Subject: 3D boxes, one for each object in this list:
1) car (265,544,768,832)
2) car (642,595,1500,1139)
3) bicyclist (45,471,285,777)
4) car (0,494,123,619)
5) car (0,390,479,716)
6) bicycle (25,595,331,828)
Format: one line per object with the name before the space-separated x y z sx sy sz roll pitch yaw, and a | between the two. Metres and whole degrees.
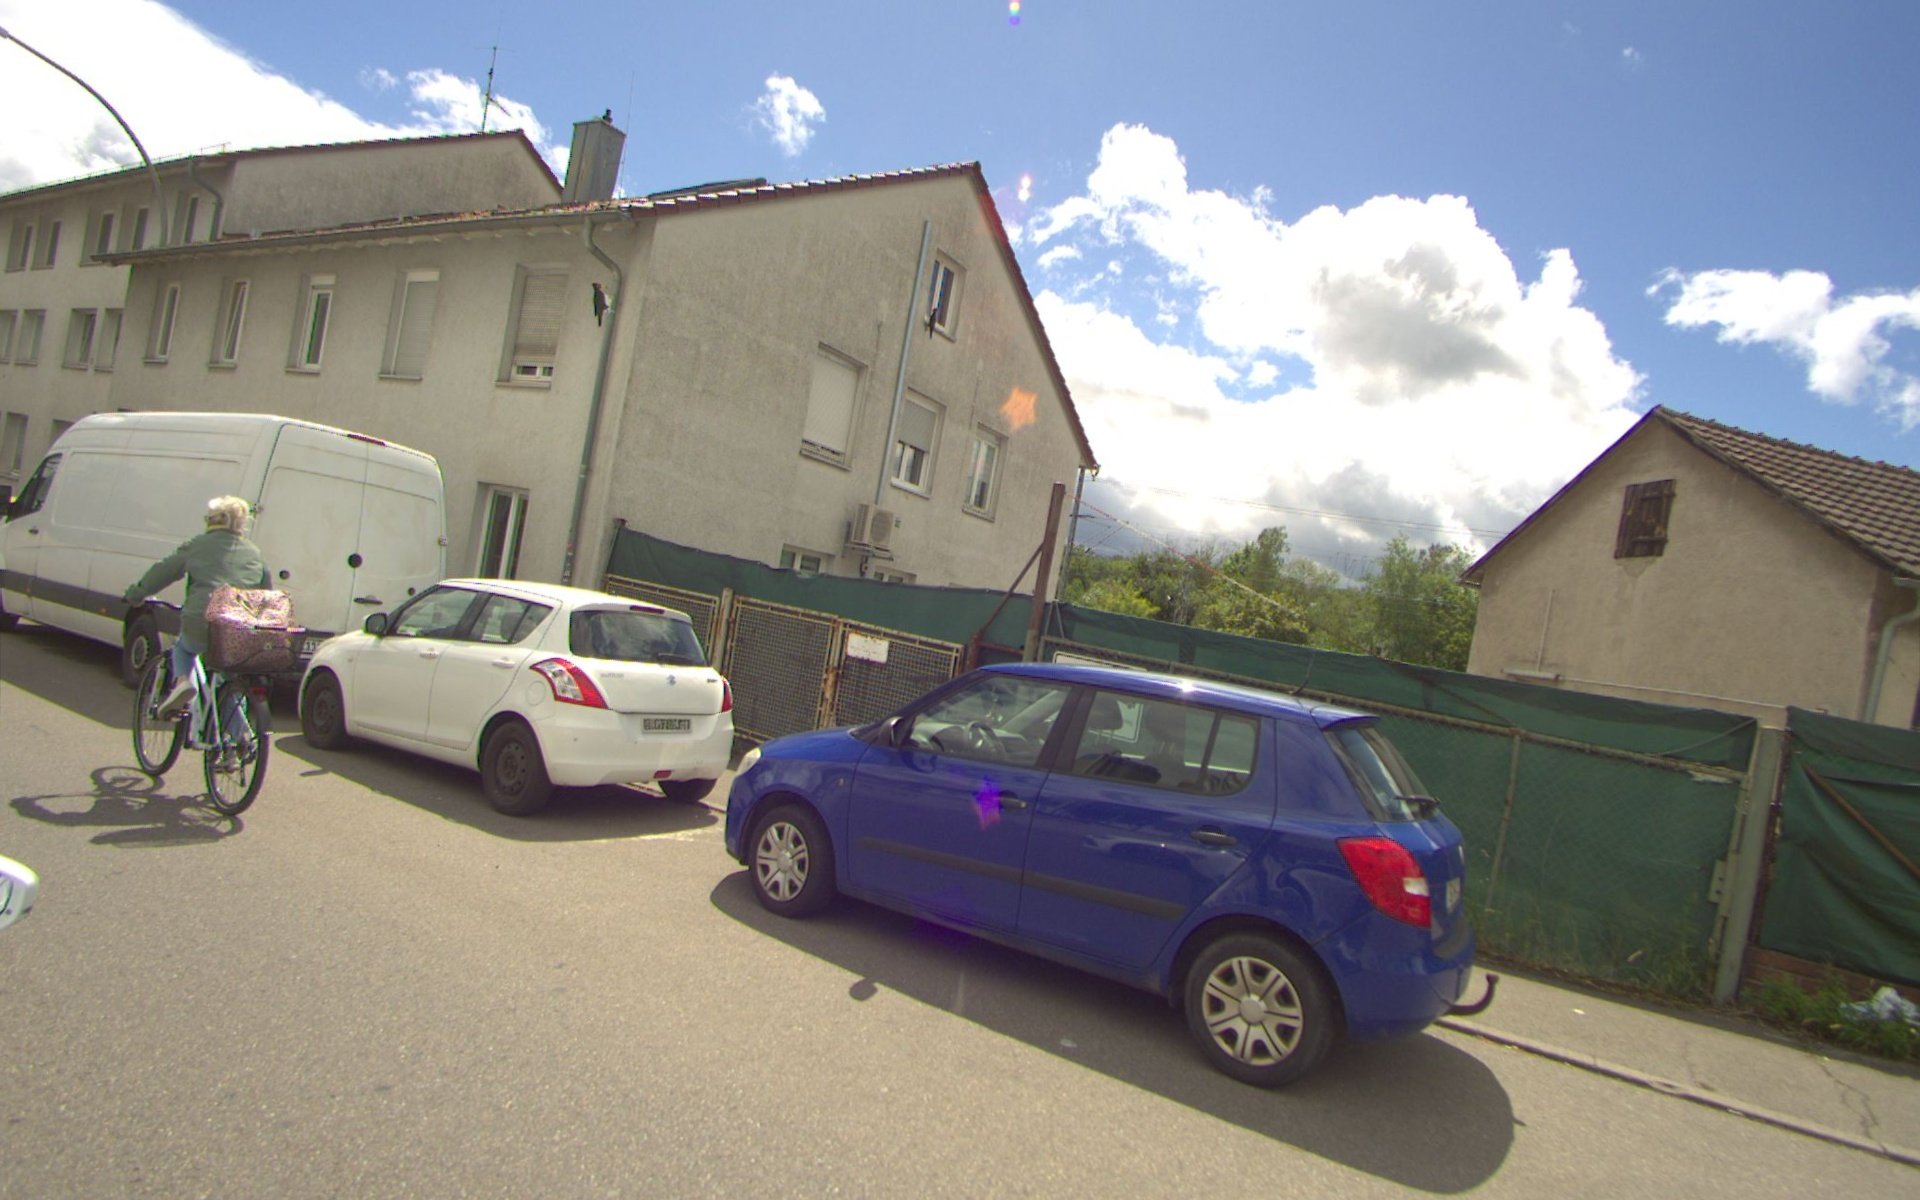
car | -3.507 0.563 7.786 3.727 1.527 1.596 6 -2 32
car | 0.401 0.999 5.236 4.027 1.527 1.570 6 -2 33
bicyclist | -4.685 0.142 5.951 0.719 1.645 0.741 7 -1 30
car | -13.735 -0.753 14.393 3.729 1.464 1.595 8 -1 34
car | -8.474 -0.626 10.973 7.162 2.672 2.037 6 -2 32
bicycle | -4.555 0.598 5.834 1.703 0.986 0.742 8 -1 31
